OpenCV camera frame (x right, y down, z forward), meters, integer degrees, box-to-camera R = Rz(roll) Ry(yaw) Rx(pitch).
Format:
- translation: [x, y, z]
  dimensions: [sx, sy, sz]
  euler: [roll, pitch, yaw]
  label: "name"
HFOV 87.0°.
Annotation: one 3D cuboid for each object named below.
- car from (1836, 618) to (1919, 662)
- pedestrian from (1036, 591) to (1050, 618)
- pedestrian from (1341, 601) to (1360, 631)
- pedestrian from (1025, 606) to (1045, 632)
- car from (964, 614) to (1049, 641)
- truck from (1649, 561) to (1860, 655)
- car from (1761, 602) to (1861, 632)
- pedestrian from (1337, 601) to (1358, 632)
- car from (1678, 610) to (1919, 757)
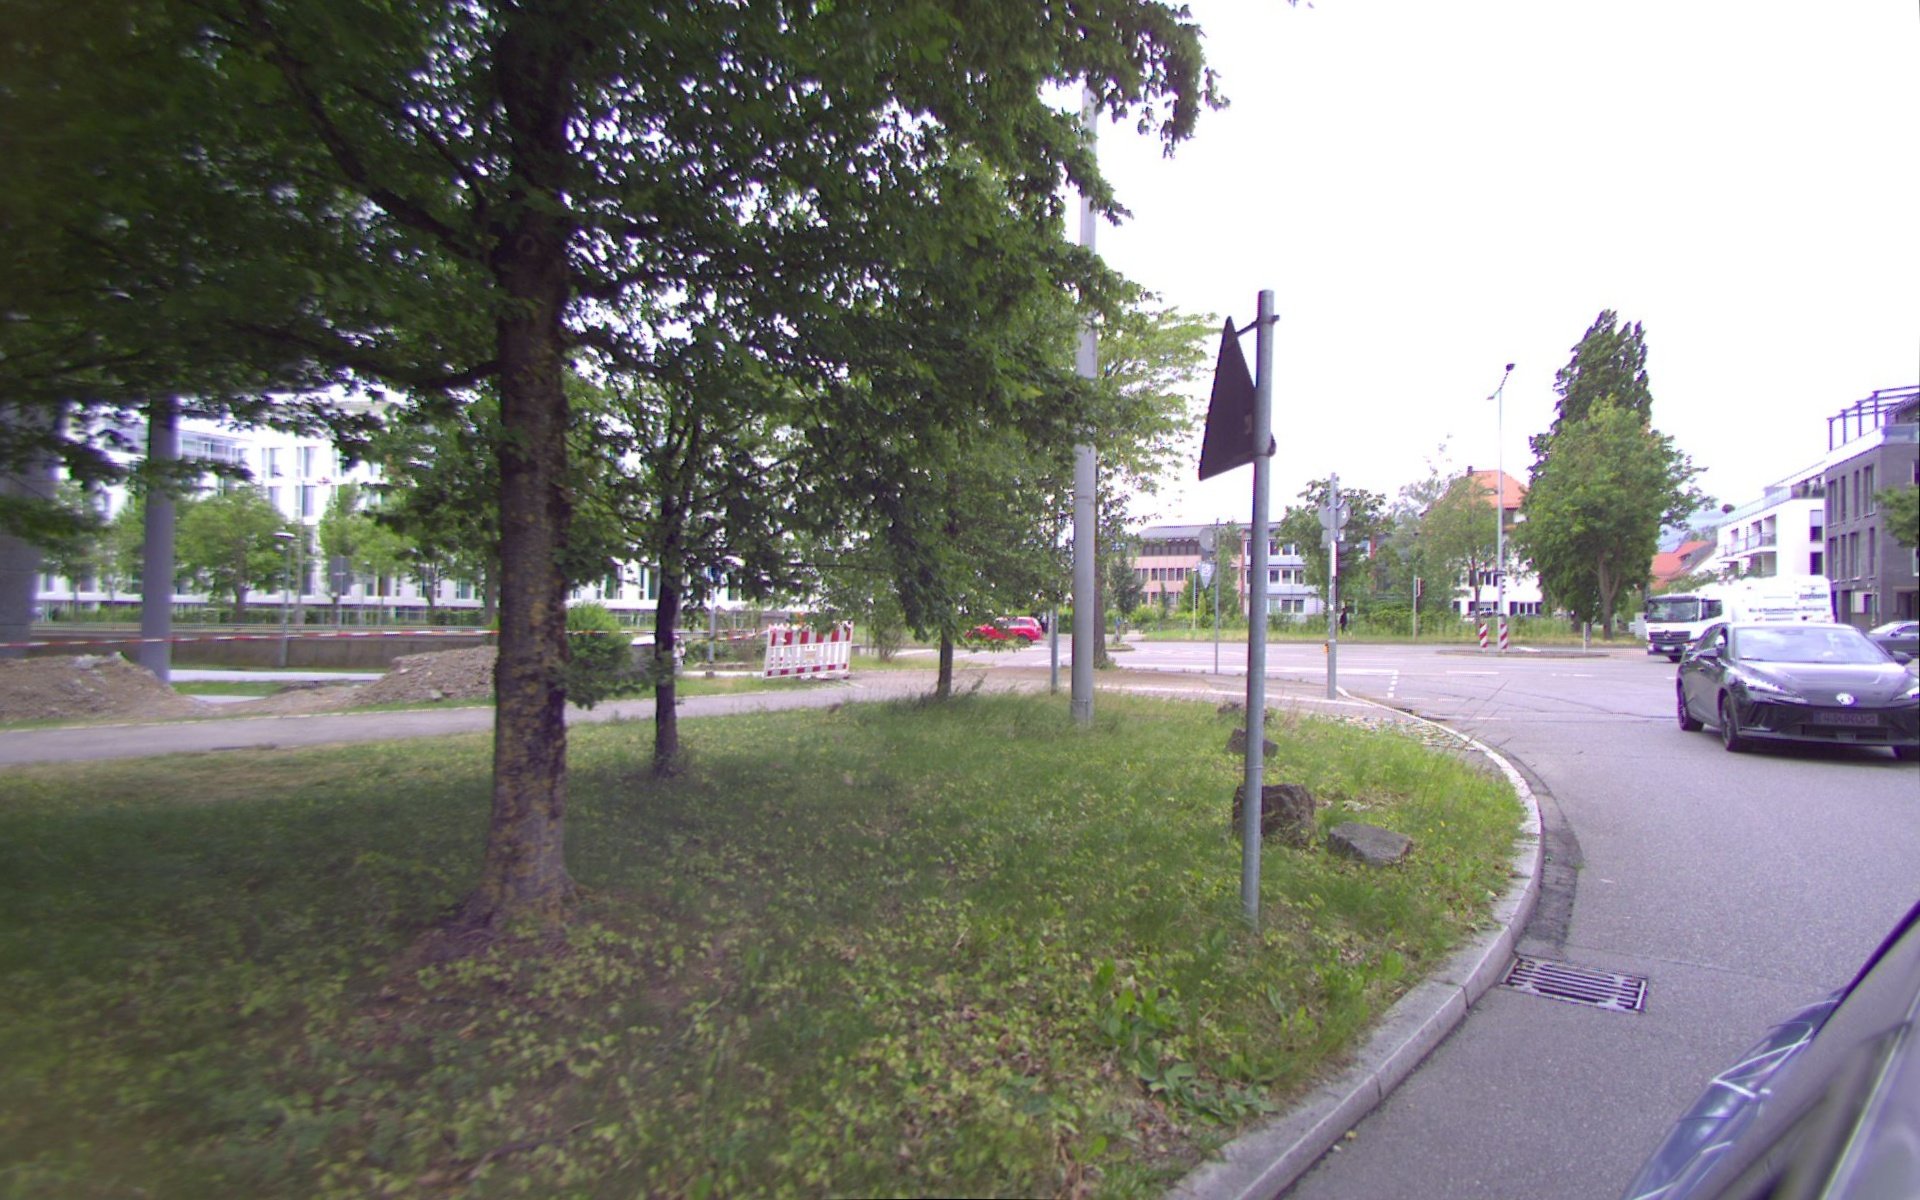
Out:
- translation: [38.326, 1.576, 40.420]
  dimensions: [4.547, 1.717, 1.985]
  euler: [-2, -3, 21]
  label: "car"
- translation: [5.293, 0.287, 64.730]
  dimensions: [0.556, 1.647, 0.707]
  euler: [2, -4, -41]
  label: "pedestrian"
- translation: [22.541, 0.928, 58.419]
  dimensions: [0.818, 1.718, 0.614]
  euler: [-2, -3, 9]
  label: "pedestrian"
- translation: [4.774, 1.218, 64.190]
  dimensions: [1.030, 1.647, 0.722]
  euler: [-4, -4, 43]
  label: "pedestrian"
- translation: [2.577, 1.495, 55.786]
  dimensions: [4.297, 1.441, 1.989]
  euler: [-1, 0, 18]
  label: "car"
- translation: [29.246, 0.248, 37.336]
  dimensions: [6.333, 3.235, 2.442]
  euler: [-1, 1, -10]
  label: "truck"
- translation: [49.578, 0.973, 59.088]
  dimensions: [4.085, 1.622, 1.980]
  euler: [1, -2, 27]
  label: "car"
- translation: [22.109, 0.945, 57.747]
  dimensions: [0.986, 1.718, 0.606]
  euler: [-2, -3, 9]
  label: "pedestrian"
- translation: [10.219, 0.903, 12.336]
  dimensions: [1.784, 1.503, 3.980]
  euler: [-1, -2, 27]
  label: "car"
